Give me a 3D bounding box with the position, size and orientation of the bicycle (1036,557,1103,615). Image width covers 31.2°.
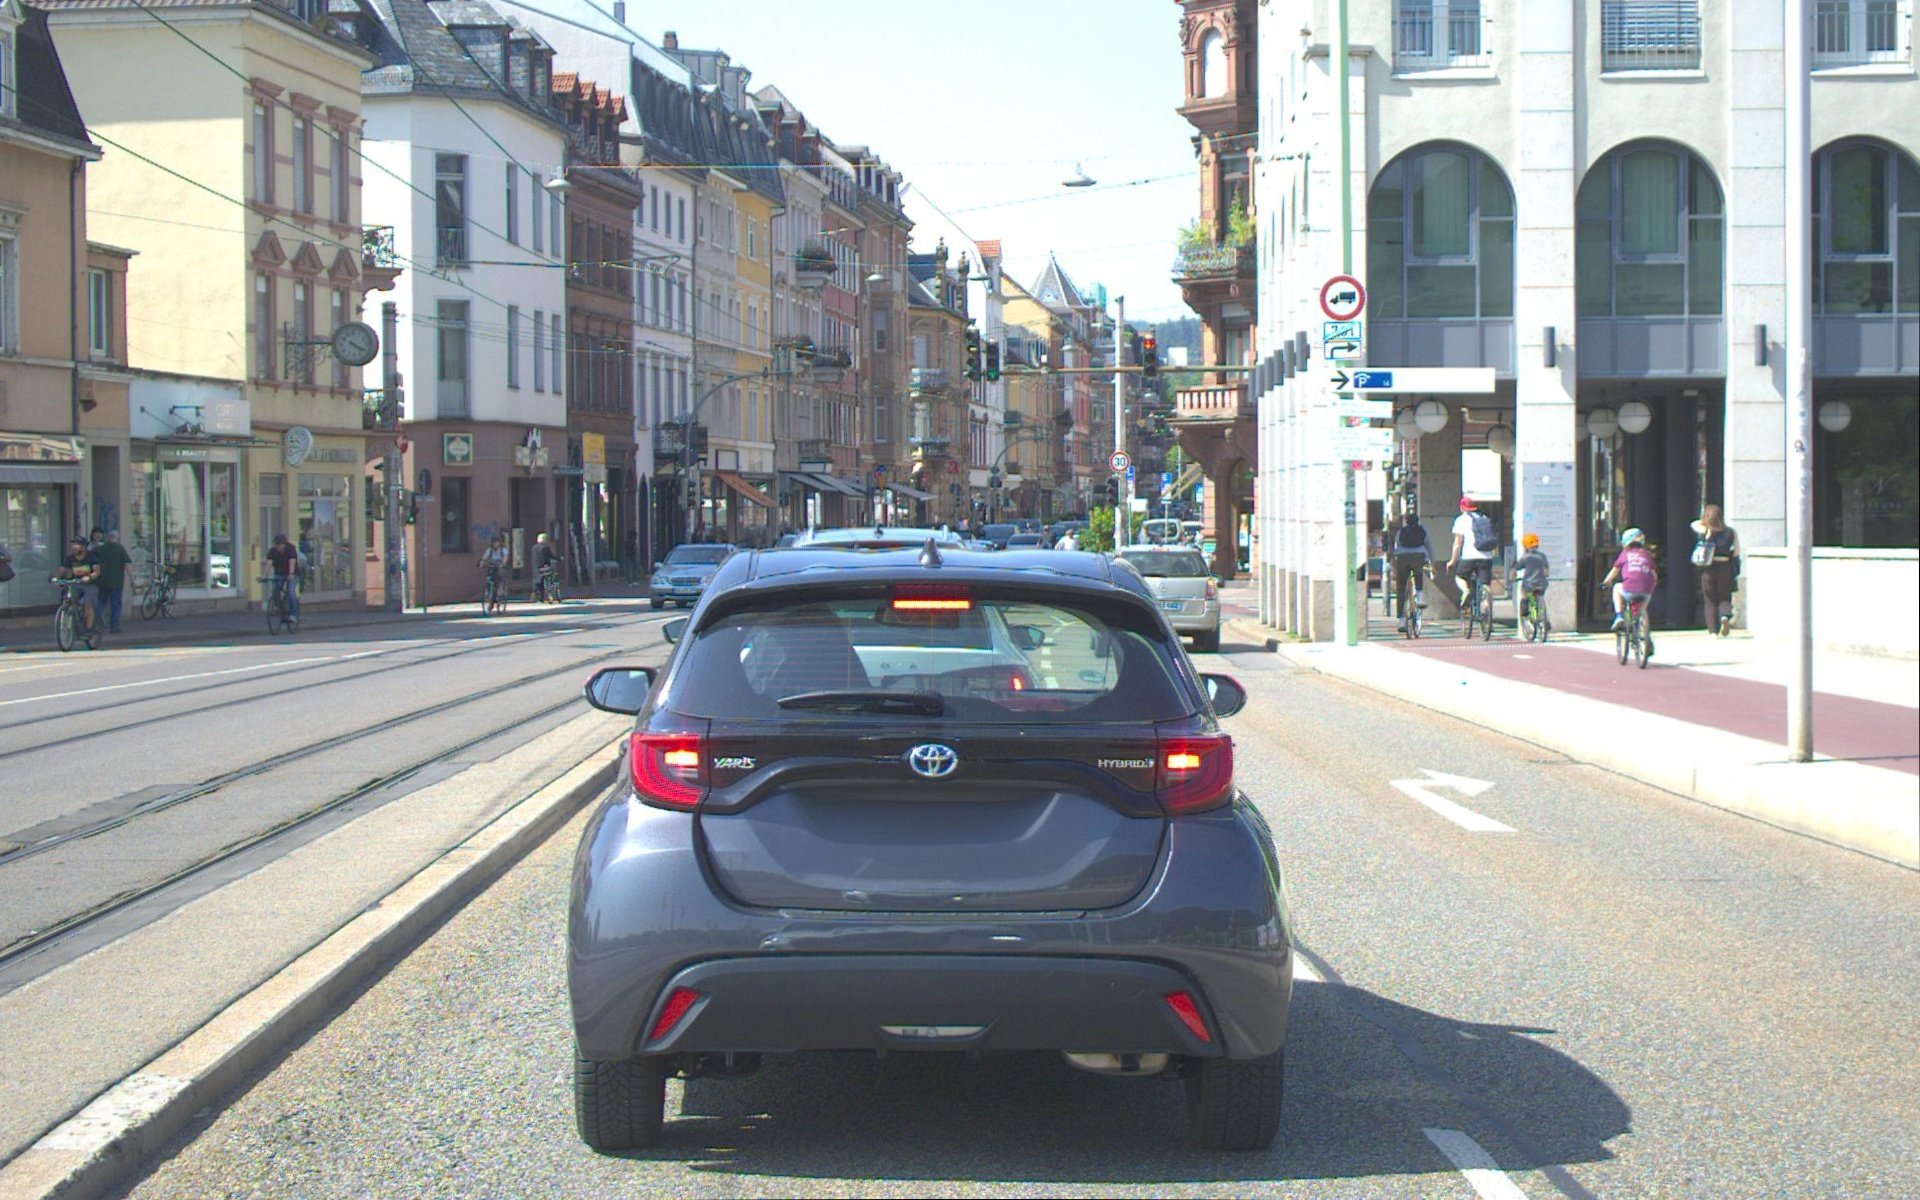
[{"bbox_3d":[2.897,-0.380,91.403,1.112,1.415,3.008,3,1,-10],"label":"bicycle"}]

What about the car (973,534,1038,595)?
[{"bbox_3d":[1.593,-1.214,119.026,1.994,2.007,3.999,1,0,4],"label":"car"}]

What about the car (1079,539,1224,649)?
[{"bbox_3d":[2.674,-0.122,48.846,1.705,1.461,4.326,1,1,-1],"label":"car"}]

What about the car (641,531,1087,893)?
[{"bbox_3d":[-0.453,0.444,16.815,1.897,1.525,4.000,1,1,-1],"label":"car"}]

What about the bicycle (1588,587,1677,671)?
[{"bbox_3d":[6.605,0.272,33.807,0.514,0.763,1.661,-2,1,-1],"label":"bicycle"}]

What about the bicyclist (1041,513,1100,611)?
[{"bbox_3d":[2.942,-1.013,91.484,1.227,2.520,1.105,4,1,-8],"label":"bicyclist"}]

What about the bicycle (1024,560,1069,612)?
[{"bbox_3d":[2.465,-0.414,98.745,1.112,1.415,3.007,3,1,-1],"label":"bicycle"}]

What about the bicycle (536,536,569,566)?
[{"bbox_3d":[-10.168,-1.234,85.832,0.620,0.713,1.771,1,2,-1],"label":"bicycle"}]

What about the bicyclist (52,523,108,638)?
[{"bbox_3d":[-12.856,-0.285,50.239,0.627,1.644,0.622,1,2,0],"label":"bicyclist"}]

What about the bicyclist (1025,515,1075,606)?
[{"bbox_3d":[2.577,-1.126,98.545,1.228,2.520,1.105,4,1,-1],"label":"bicyclist"}]

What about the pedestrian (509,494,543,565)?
[{"bbox_3d":[-10.855,-1.772,86.051,0.736,1.760,0.787,0,2,0],"label":"pedestrian"}]

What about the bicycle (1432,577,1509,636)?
[{"bbox_3d":[6.786,0.085,45.746,0.416,0.763,0.961,-3,1,-39],"label":"bicycle"}]

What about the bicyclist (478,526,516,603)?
[{"bbox_3d":[-10.063,-0.785,74.743,0.627,1.644,0.621,2,2,8],"label":"bicyclist"}]

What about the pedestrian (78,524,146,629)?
[{"bbox_3d":[-13.837,-0.385,56.098,0.762,1.648,0.711,4,1,7],"label":"pedestrian"}]

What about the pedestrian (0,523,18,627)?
[{"bbox_3d":[-15.212,-0.405,53.868,0.649,1.596,0.566,4,3,0],"label":"pedestrian"}]

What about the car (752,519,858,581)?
[{"bbox_3d":[-4.022,-1.308,89.979,1.994,1.581,4.651,0,1,7],"label":"car"}]

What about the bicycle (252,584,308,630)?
[{"bbox_3d":[-11.818,0.114,59.771,0.620,0.713,1.731,1,2,-1],"label":"bicycle"}]

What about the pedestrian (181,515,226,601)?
[{"bbox_3d":[-14.691,-0.821,66.770,0.649,1.596,0.566,4,3,0],"label":"pedestrian"}]

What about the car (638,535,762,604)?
[{"bbox_3d":[-5.667,-0.681,75.392,1.732,1.455,4.372,0,1,9],"label":"car"}]

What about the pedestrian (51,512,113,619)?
[{"bbox_3d":[-14.871,-0.584,58.261,0.736,1.760,0.787,4,1,0],"label":"pedestrian"}]

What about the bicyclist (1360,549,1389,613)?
[{"bbox_3d":[8.545,-0.395,70.860,0.538,1.312,0.671,-1,1,5],"label":"bicyclist"}]

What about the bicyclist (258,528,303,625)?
[{"bbox_3d":[-11.804,-0.408,59.736,0.627,1.644,0.622,1,2,0],"label":"bicyclist"}]

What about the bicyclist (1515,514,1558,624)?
[{"bbox_3d":[7.351,-0.396,43.845,0.422,1.378,0.443,-2,1,-1],"label":"bicyclist"}]

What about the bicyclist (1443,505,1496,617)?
[{"bbox_3d":[6.773,-0.521,45.723,0.484,1.461,0.443,-3,1,-39],"label":"bicyclist"}]

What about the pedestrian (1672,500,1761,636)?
[{"bbox_3d":[9.318,-0.398,42.375,0.739,1.609,1.016,4,1,-1],"label":"pedestrian"}]

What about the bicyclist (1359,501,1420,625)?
[{"bbox_3d":[5.953,-0.518,47.703,0.701,1.689,0.924,-1,1,0],"label":"bicyclist"}]

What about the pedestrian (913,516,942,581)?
[{"bbox_3d":[-1.334,-2.111,139.961,1.051,2.579,1.501,3,1,0],"label":"pedestrian"}]

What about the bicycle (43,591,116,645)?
[{"bbox_3d":[-12.870,0.256,50.283,0.620,0.713,1.771,1,2,-1],"label":"bicycle"}]

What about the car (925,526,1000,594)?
[{"bbox_3d":[0.097,-1.206,105.167,1.994,2.007,3.999,1,0,4],"label":"car"}]

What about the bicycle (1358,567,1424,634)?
[{"bbox_3d":[5.966,0.001,47.678,0.704,0.879,1.525,-1,1,0],"label":"bicycle"}]

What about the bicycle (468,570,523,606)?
[{"bbox_3d":[-10.089,-0.275,74.693,0.620,0.713,2.044,2,2,9],"label":"bicycle"}]

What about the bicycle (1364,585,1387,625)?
[{"bbox_3d":[8.557,0.100,70.839,0.416,0.763,1.205,-2,1,6],"label":"bicycle"}]

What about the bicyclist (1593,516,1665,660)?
[{"bbox_3d":[6.583,-0.125,33.858,0.534,1.378,0.669,-2,1,-1],"label":"bicyclist"}]

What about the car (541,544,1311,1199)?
[{"bbox_3d":[-0.113,0.602,9.615,1.720,1.468,3.658,1,1,-1],"label":"car"}]

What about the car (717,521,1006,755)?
[{"bbox_3d":[-0.693,0.211,24.880,1.897,1.525,4.000,1,1,-1],"label":"car"}]

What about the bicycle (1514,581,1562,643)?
[{"bbox_3d":[7.374,0.147,43.861,0.416,0.763,0.962,-2,1,-1],"label":"bicycle"}]
